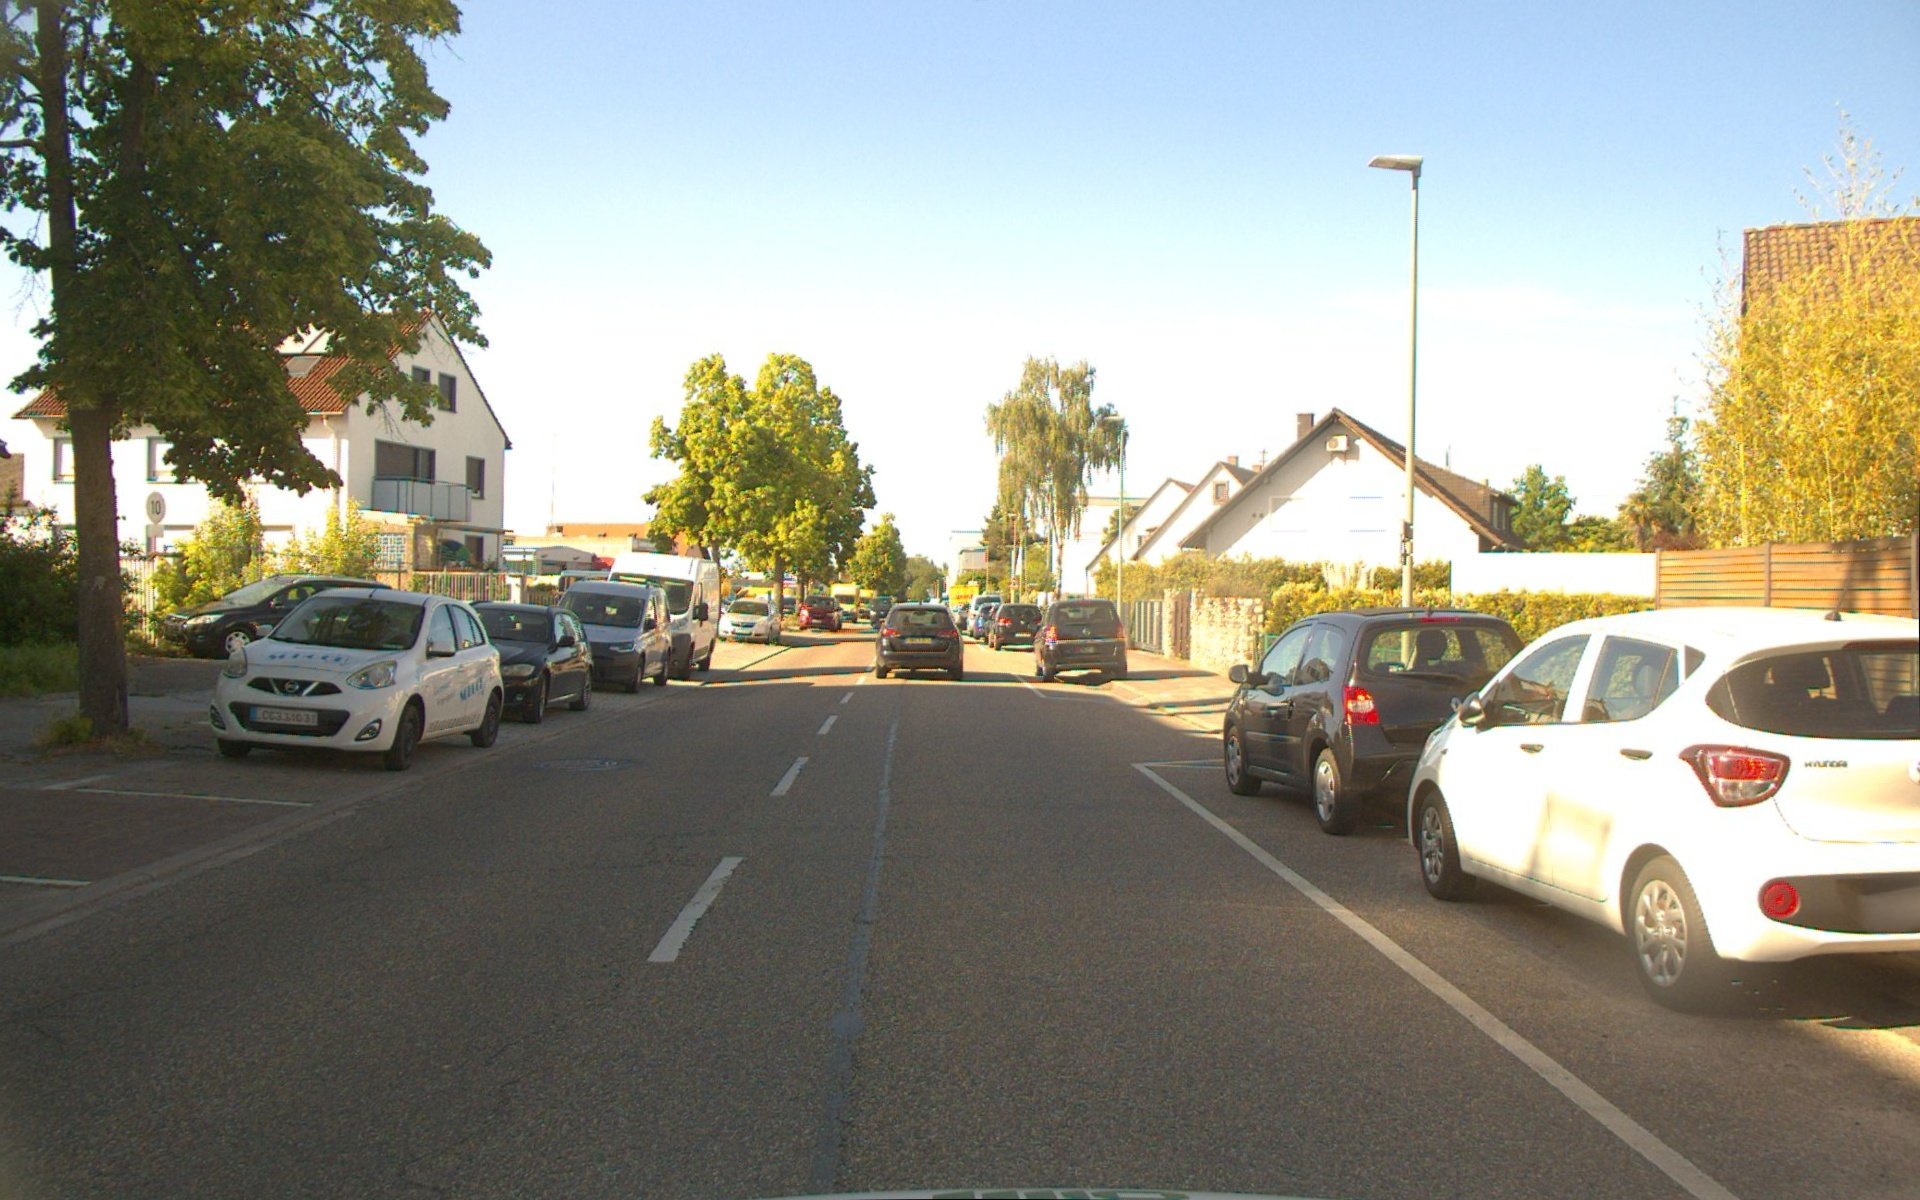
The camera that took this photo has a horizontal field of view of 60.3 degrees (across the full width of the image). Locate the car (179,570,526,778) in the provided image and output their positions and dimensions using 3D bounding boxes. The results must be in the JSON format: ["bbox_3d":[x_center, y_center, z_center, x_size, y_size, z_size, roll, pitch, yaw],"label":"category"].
[{"bbox_3d":[-5.498,0.609,15.529,1.658,1.593,3.907,4,0,1],"label":"car"}]

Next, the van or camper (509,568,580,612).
[{"bbox_3d":[-26.847,-0.592,107.203,2.118,2.763,6.274,1,0,9],"label":"van or camper"}]

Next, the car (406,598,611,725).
[{"bbox_3d":[-5.846,0.728,21.914,1.577,1.460,4.312,2,0,-1],"label":"car"}]

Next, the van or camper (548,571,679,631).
[{"bbox_3d":[-14.374,0.036,68.714,4.788,2.361,2.245,1,-1,11],"label":"van or camper"}]

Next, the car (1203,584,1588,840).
[{"bbox_3d":[3.101,0.729,12.583,1.624,1.629,3.812,1,0,-5],"label":"car"}]

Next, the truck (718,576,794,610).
[{"bbox_3d":[-16.936,-0.595,137.741,5.795,2.612,2.225,2,0,10],"label":"truck"}]

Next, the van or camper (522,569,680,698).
[{"bbox_3d":[-6.158,0.548,28.867,1.839,2.049,4.278,1,0,-1],"label":"van or camper"}]

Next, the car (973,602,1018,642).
[{"bbox_3d":[1.431,0.887,67.881,1.684,1.531,3.562,1,0,-1],"label":"car"}]

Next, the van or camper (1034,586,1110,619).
[{"bbox_3d":[8.930,0.212,132.184,5.747,2.586,2.269,1,-1,-28],"label":"van or camper"}]

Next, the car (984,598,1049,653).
[{"bbox_3d":[1.804,0.793,53.868,1.740,1.688,3.814,1,0,-3],"label":"car"}]

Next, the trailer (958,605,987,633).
[{"bbox_3d":[0.723,1.088,95.984,1.594,1.565,3.198,1,0,0],"label":"trailer"}]

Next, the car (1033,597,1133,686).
[{"bbox_3d":[2.498,0.812,34.451,1.739,1.688,4.303,1,0,0],"label":"car"}]

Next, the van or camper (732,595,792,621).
[{"bbox_3d":[-16.074,0.676,134.522,4.447,2.049,2.252,0,0,5],"label":"van or camper"}]

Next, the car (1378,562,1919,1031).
[{"bbox_3d":[3.429,0.702,7.731,1.690,1.629,3.812,1,0,-5],"label":"car"}]

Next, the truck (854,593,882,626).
[{"bbox_3d":[-8.963,0.904,161.517,2.354,3.035,6.372,2,-1,-1],"label":"truck"}]

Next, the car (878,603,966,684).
[{"bbox_3d":[-0.741,0.837,33.615,1.677,1.559,3.687,0,0,0],"label":"car"}]

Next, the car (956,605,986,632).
[{"bbox_3d":[0.686,1.103,101.147,1.639,1.569,4.044,1,0,2],"label":"car"}]

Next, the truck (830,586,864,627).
[{"bbox_3d":[-8.847,0.517,129.920,2.355,3.035,7.241,2,-1,-3],"label":"truck"}]

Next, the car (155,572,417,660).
[{"bbox_3d":[-12.628,0.302,31.231,1.584,1.540,4.367,1,0,38],"label":"car"}]

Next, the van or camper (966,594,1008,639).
[{"bbox_3d":[1.167,0.743,73.816,1.684,1.924,4.178,1,0,-1],"label":"van or camper"}]

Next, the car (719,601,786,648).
[{"bbox_3d":[-7.067,0.813,56.571,1.652,1.460,4.209,3,0,0],"label":"car"}]

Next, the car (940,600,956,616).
[{"bbox_3d":[-1.477,0.977,200.183,1.880,1.857,4.078,1,0,-1],"label":"car"}]

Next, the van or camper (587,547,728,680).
[{"bbox_3d":[-6.369,0.266,35.475,2.080,2.533,5.553,3,0,-2],"label":"van or camper"}]

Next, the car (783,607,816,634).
[{"bbox_3d":[-10.401,1.356,107.416,1.824,1.618,4.274,1,-2,-2],"label":"car"}]

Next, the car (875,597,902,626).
[{"bbox_3d":[-5.236,0.833,121.675,1.856,2.067,4.816,-1,0,-1],"label":"car"}]

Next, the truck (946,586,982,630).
[{"bbox_3d":[0.251,0.592,120.114,2.354,2.988,7.013,-2,-1,-2],"label":"truck"}]

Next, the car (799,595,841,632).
[{"bbox_3d":[-7.038,0.684,83.680,1.767,1.783,4.340,2,0,-1],"label":"car"}]
